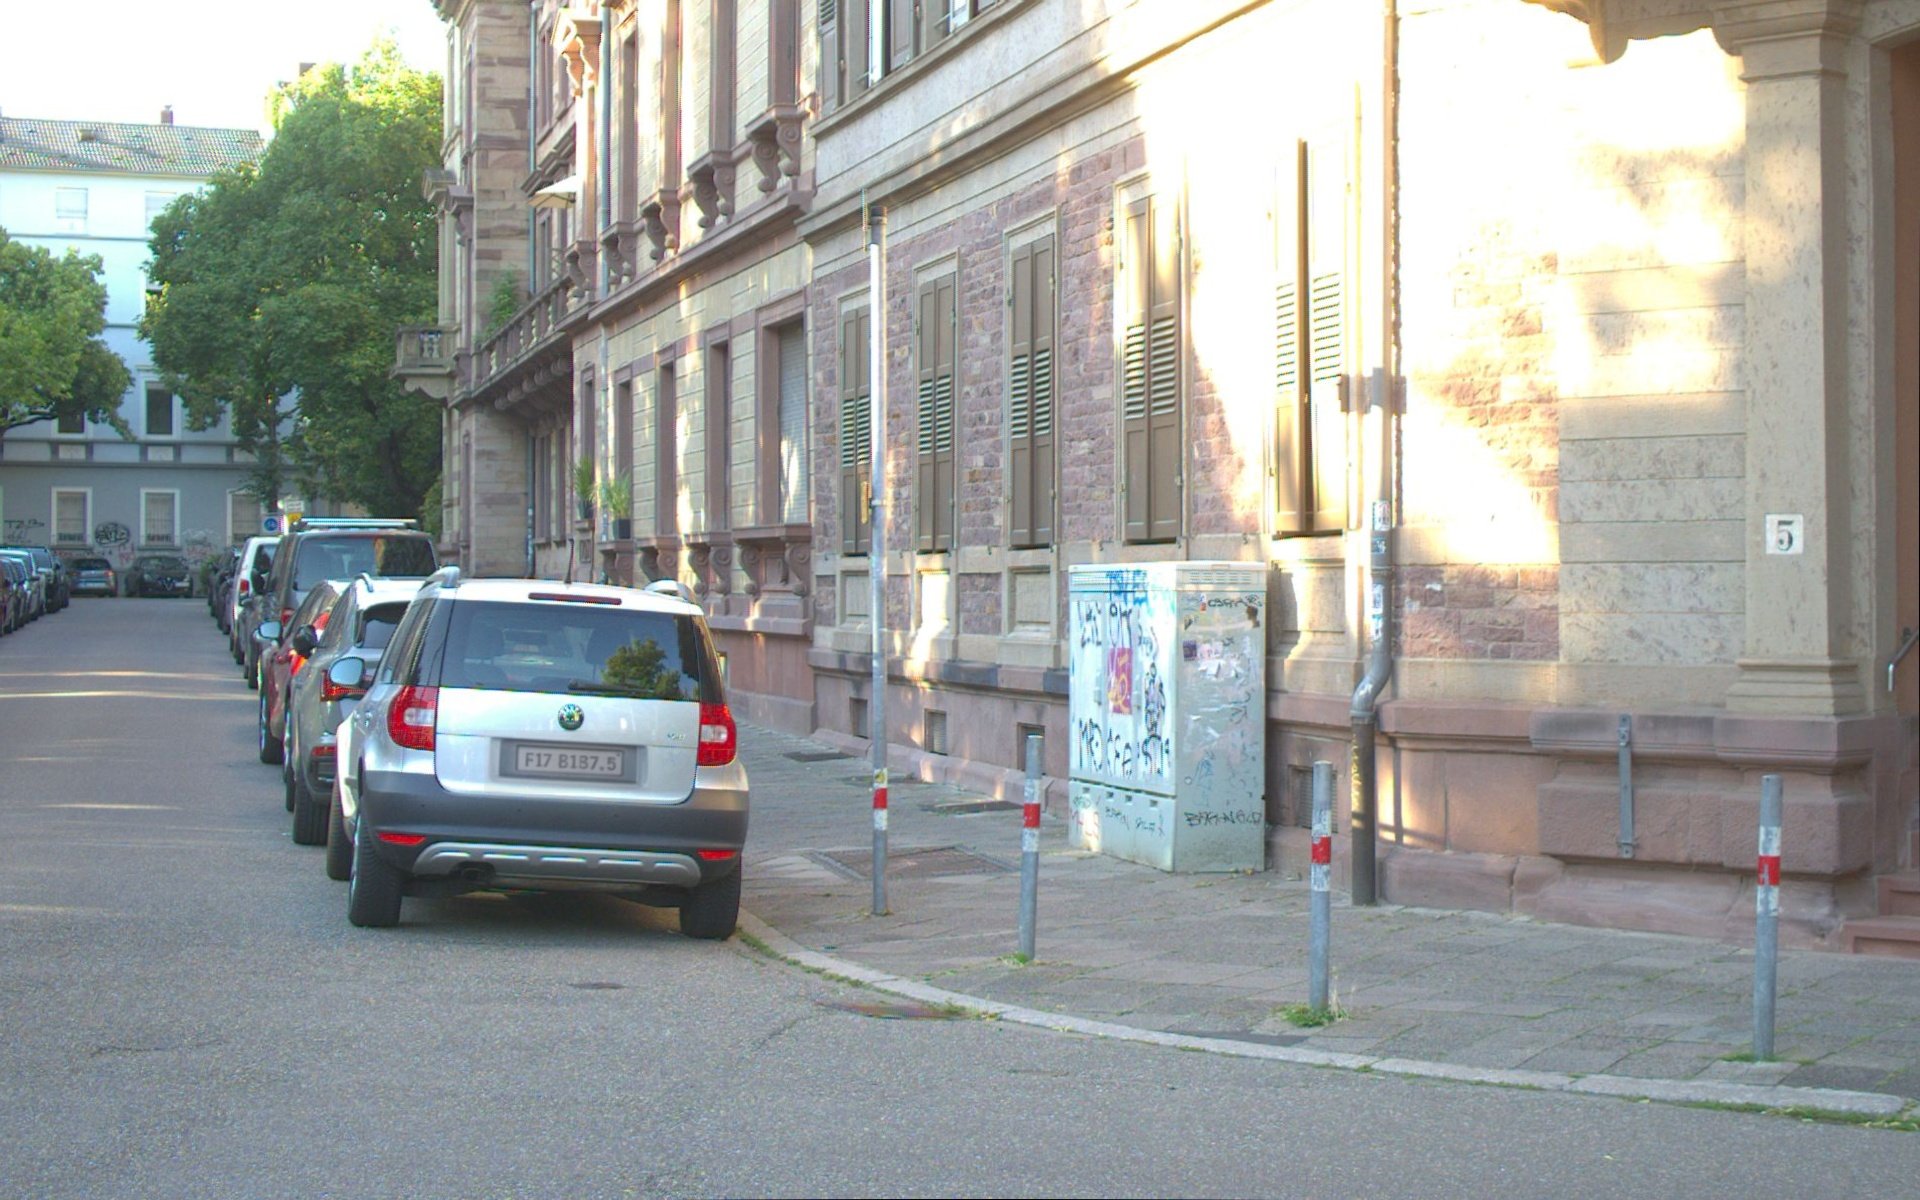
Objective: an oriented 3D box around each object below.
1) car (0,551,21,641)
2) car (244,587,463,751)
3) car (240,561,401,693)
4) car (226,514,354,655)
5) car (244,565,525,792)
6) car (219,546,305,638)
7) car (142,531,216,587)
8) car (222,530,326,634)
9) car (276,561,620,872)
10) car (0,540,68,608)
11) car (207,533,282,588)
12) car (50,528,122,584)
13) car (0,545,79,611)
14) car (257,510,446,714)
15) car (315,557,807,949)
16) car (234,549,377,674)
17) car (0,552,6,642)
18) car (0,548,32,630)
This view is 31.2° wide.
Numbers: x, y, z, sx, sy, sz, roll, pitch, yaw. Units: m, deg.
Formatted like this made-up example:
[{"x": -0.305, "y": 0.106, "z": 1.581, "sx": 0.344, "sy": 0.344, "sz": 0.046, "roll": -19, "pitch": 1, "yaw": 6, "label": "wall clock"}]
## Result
[{"x": -17.383, "y": -0.137, "z": 59.604, "sx": 1.825, "sy": 1.495, "sz": 3.932, "roll": 3, "pitch": 0, "yaw": -12, "label": "car"}, {"x": -5.756, "y": 0.609, "z": 32.308, "sx": 1.797, "sy": 1.341, "sz": 3.956, "roll": 3, "pitch": 0, "yaw": -12, "label": "car"}, {"x": -8.126, "y": 0.308, "z": 43.472, "sx": 1.797, "sy": 1.518, "sz": 3.956, "roll": 3, "pitch": 0, "yaw": -12, "label": "car"}, {"x": -10.664, "y": -0.255, "z": 54.564, "sx": 1.797, "sy": 2.065, "sz": 3.956, "roll": 3, "pitch": 0, "yaw": -12, "label": "car"}, {"x": -4.682, "y": 0.573, "z": 27.565, "sx": 1.797, "sy": 1.608, "sz": 3.956, "roll": 3, "pitch": 0, "yaw": -15, "label": "car"}, {"x": -16.292, "y": -0.196, "z": 80.114, "sx": 1.797, "sy": 2.010, "sz": 3.956, "roll": 3, "pitch": 0, "yaw": -12, "label": "car"}, {"x": -25.981, "y": -1.353, "z": 114.305, "sx": 1.993, "sy": 1.678, "sz": 4.001, "roll": 1, "pitch": -1, "yaw": -18, "label": "car"}, {"x": -13.124, "y": -0.352, "z": 65.640, "sx": 1.797, "sy": 1.832, "sz": 3.956, "roll": 3, "pitch": 0, "yaw": -12, "label": "car"}, {"x": -3.404, "y": 0.660, "z": 22.175, "sx": 1.825, "sy": 1.718, "sz": 4.545, "roll": 3, "pitch": 0, "yaw": -12, "label": "car"}, {"x": -21.960, "y": -0.632, "z": 80.515, "sx": 1.825, "sy": 1.495, "sz": 3.932, "roll": 3, "pitch": 0, "yaw": -12, "label": "car"}, {"x": -23.922, "y": -1.309, "z": 114.789, "sx": 1.993, "sy": 1.678, "sz": 4.001, "roll": 1, "pitch": -1, "yaw": -18, "label": "car"}, {"x": -28.721, "y": -1.429, "z": 112.943, "sx": 1.993, "sy": 1.678, "sz": 4.001, "roll": 1, "pitch": -1, "yaw": -18, "label": "car"}, {"x": -22.970, "y": -0.560, "z": 85.518, "sx": 1.825, "sy": 1.495, "sz": 3.932, "roll": 3, "pitch": 0, "yaw": -12, "label": "car"}, {"x": -6.793, "y": 0.108, "z": 38.097, "sx": 1.797, "sy": 2.065, "sz": 3.956, "roll": 3, "pitch": 0, "yaw": -12, "label": "car"}, {"x": -2.134, "y": 0.680, "z": 17.273, "sx": 1.915, "sy": 1.651, "sz": 4.188, "roll": 3, "pitch": 0, "yaw": -13, "label": "car"}, {"x": -9.301, "y": 0.132, "z": 48.653, "sx": 1.797, "sy": 1.617, "sz": 3.956, "roll": 3, "pitch": 0, "yaw": -12, "label": "car"}, {"x": -16.445, "y": -0.083, "z": 55.268, "sx": 1.825, "sy": 1.495, "sz": 3.932, "roll": 3, "pitch": 0, "yaw": -12, "label": "car"}, {"x": -18.716, "y": -0.267, "z": 65.261, "sx": 1.825, "sy": 1.495, "sz": 3.932, "roll": 3, "pitch": 0, "yaw": -12, "label": "car"}]
